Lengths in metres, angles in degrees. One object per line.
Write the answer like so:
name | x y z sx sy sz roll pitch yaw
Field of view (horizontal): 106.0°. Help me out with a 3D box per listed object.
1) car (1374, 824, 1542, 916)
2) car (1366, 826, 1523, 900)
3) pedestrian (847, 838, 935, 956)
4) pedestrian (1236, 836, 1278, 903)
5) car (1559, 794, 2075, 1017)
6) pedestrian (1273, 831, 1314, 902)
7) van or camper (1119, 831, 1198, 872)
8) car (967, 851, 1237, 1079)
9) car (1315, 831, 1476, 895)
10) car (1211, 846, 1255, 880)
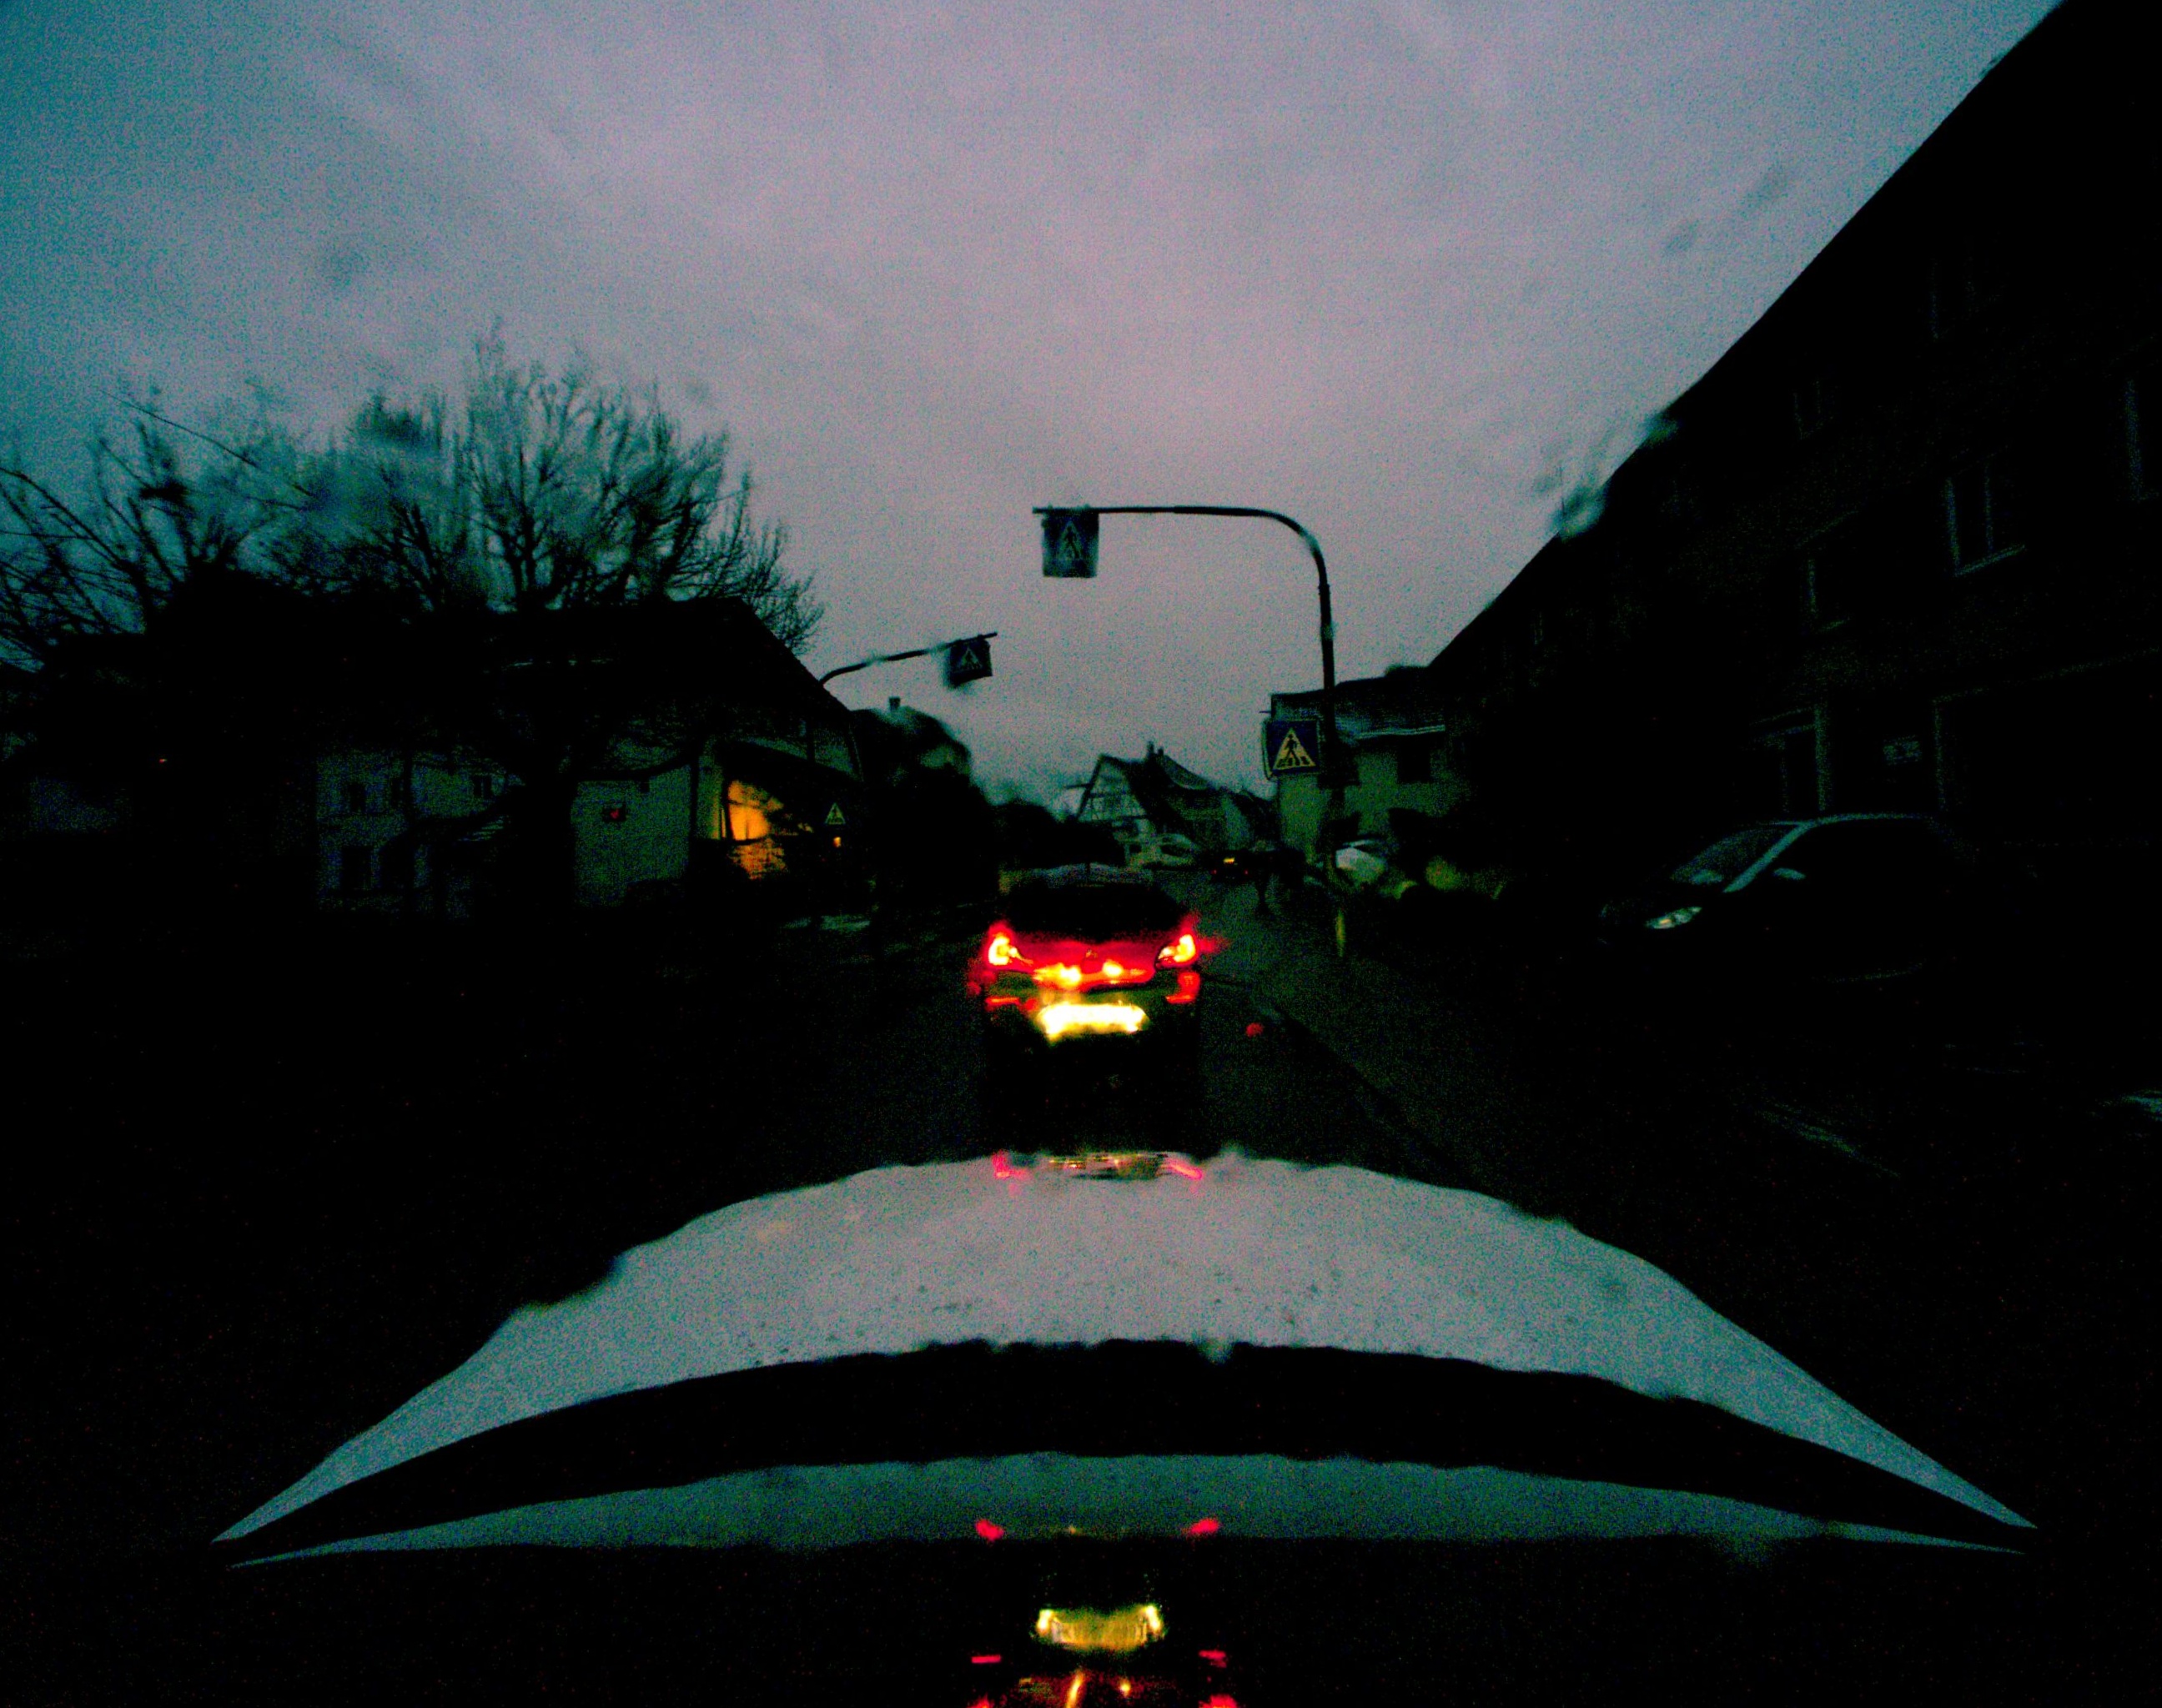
car | 7.289 0.297 15.957 2.568 1.547 1.555 -4 0 8
car | 8.474 0.209 19.204 3.045 1.474 1.554 -4 0 11
pedestrian | -2.951 0.652 12.731 0.873 1.735 0.960 -4 0 16
pedestrian | 4.654 0.394 21.509 0.860 1.667 0.996 -5 -1 16
car | 5.736 0.400 6.667 2.747 1.474 1.430 -4 0 8
pedestrian | 5.531 0.304 21.183 0.842 1.733 0.976 -5 -1 16
van or camper | 6.593 -0.183 69.529 6.006 2.955 2.420 -6 -2 24
car | 0.054 0.734 7.469 1.791 1.476 3.996 -1 0 -3
car | 8.637 0.239 22.687 3.874 1.474 1.756 -4 0 11
car | 7.867 0.438 41.876 1.833 1.637 4.354 -1 0 16
